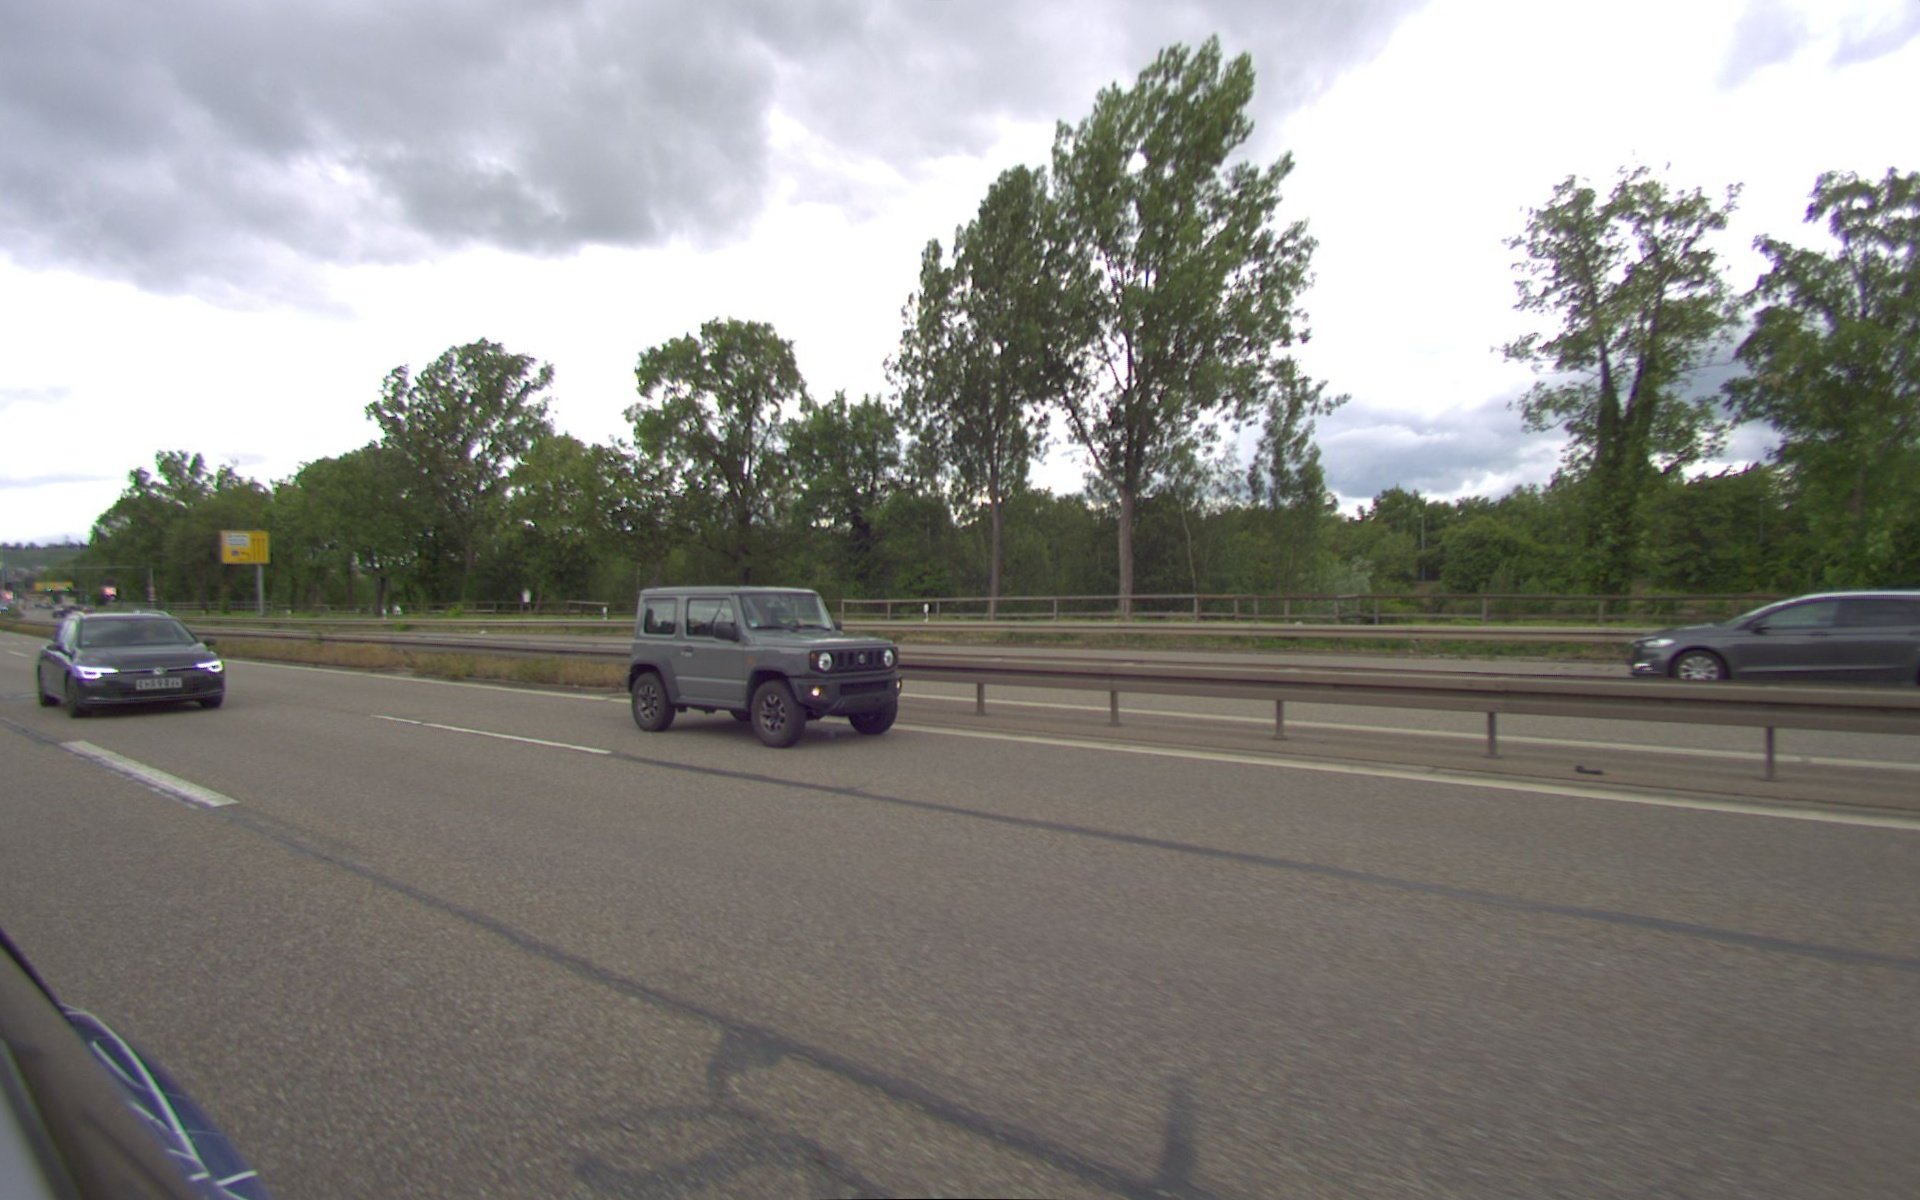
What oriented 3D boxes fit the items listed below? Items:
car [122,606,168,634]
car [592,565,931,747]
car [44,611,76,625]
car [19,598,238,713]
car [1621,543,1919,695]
[{"bbox_3d":[-62.626,1.515,77.756,3.996,2.029,1.974,-1,0,39],"label":"car"},{"bbox_3d":[-2.385,0.540,11.617,3.994,1.749,1.664,0,0,39],"label":"car"},{"bbox_3d":[-151.590,3.025,170.473,2.000,2.028,3.943,-1,1,43],"label":"car"},{"bbox_3d":[-12.743,0.758,15.420,4.302,1.512,1.915,-1,-1,41],"label":"car"},{"bbox_3d":[12.848,0.232,14.769,5.214,2.028,1.975,-1,1,38],"label":"car"}]
